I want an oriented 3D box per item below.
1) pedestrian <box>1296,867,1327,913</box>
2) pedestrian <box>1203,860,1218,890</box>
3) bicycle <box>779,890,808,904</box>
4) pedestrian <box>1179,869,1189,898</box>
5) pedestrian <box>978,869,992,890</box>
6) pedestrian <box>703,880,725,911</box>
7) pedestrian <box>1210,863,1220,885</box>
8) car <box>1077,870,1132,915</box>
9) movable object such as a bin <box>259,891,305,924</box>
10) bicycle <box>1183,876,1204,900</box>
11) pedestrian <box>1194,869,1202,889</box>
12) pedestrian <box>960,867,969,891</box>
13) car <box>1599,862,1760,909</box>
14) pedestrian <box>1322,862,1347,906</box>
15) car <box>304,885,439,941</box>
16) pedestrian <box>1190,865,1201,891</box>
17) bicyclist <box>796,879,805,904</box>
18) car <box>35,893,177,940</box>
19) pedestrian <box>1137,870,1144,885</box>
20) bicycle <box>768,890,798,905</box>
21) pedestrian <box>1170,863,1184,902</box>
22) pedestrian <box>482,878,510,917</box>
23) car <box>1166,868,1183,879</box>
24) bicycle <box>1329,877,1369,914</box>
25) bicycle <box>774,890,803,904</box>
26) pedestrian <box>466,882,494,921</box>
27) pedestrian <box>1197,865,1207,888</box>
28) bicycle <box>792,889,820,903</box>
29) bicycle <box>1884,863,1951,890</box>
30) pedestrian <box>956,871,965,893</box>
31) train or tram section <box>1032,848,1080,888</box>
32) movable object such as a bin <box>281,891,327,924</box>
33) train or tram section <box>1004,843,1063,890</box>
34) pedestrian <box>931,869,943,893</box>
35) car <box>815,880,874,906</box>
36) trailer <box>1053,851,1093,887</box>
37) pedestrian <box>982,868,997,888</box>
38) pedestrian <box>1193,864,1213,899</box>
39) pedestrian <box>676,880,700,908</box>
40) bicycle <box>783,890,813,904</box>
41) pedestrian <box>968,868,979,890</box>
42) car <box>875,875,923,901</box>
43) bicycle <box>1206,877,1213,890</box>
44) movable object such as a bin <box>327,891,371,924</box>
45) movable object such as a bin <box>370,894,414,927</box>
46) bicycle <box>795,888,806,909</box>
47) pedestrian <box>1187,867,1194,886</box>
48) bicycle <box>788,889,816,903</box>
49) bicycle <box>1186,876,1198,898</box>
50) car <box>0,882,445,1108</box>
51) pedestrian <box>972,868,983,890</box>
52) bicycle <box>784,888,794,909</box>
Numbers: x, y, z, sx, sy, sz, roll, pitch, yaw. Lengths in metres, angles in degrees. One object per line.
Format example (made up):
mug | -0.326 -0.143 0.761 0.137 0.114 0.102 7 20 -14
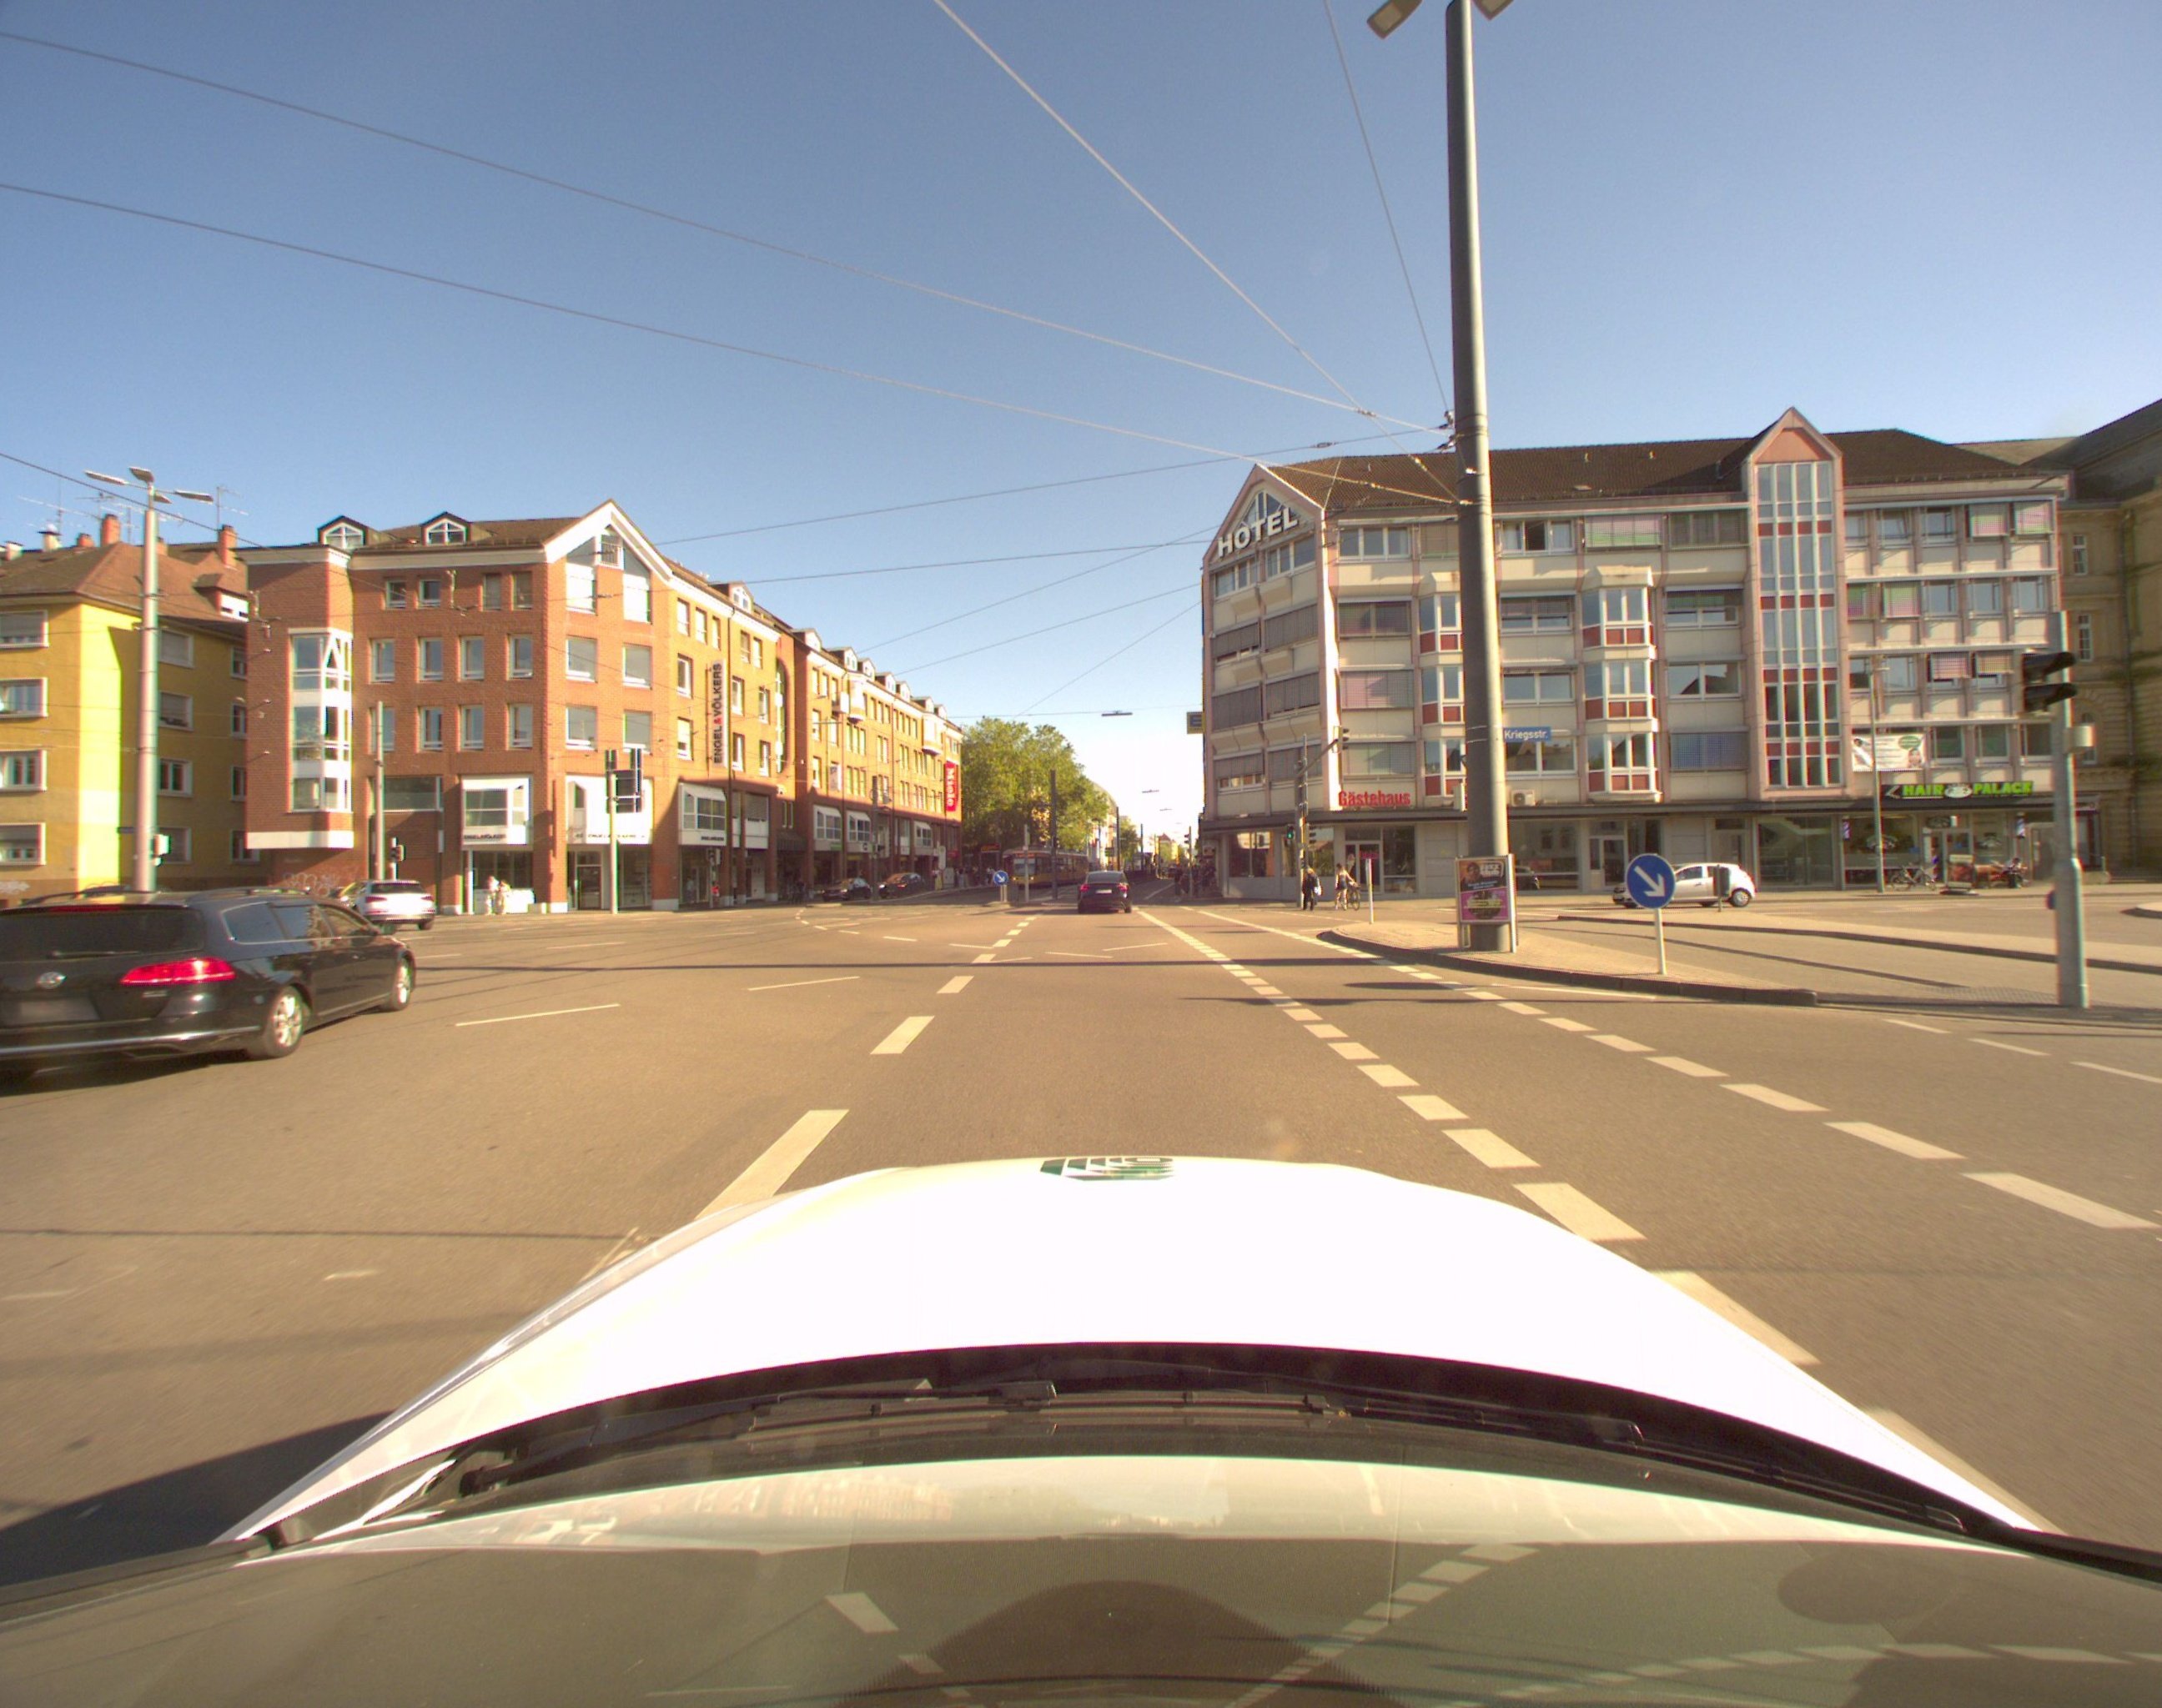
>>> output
pedestrian | 8.142 1.266 28.801 0.778 1.576 0.866 0 0 -4
pedestrian | 7.306 1.180 46.069 0.685 1.688 0.670 0 -2 -6
bicycle | -18.689 2.783 52.894 1.701 0.900 0.522 -1 -2 6
pedestrian | 5.500 1.561 43.300 0.468 1.563 0.546 -1 -2 11
pedestrian | -7.579 1.985 64.145 0.996 1.625 0.848 -1 -2 0
pedestrian | -19.671 2.222 43.657 0.708 1.594 0.778 2 -1 8
pedestrian | 10.260 1.517 62.405 0.743 1.678 0.700 -1 -2 9
car | 0.848 1.346 28.529 1.783 1.451 3.941 -1 -3 2
movable object such as a bin | -36.467 2.426 37.184 0.992 1.437 1.096 -1 -2 1
bicycle | 5.623 1.667 40.689 0.488 1.161 1.967 0 -2 -9
pedestrian | 10.076 2.171 69.988 0.692 1.678 0.751 -1 -2 9
pedestrian | -8.530 1.819 59.810 0.635 1.721 0.584 0 -2 -7
car | 19.529 1.042 26.725 3.822 1.432 1.806 -1 -3 5
pedestrian | 9.230 1.080 29.674 0.525 1.555 0.865 0 -2 -8
car | -22.256 1.803 25.574 3.443 1.635 1.855 -1 -2 23
pedestrian | 7.373 1.536 52.514 0.692 1.678 0.751 -1 -2 9
bicyclist | -16.653 2.234 48.322 0.484 1.471 0.713 0 -2 -23
car | -35.482 2.244 29.660 3.748 1.618 1.582 -1 -2 9
pedestrian | 7.112 2.802 96.992 0.753 1.770 0.700 -1 -2 7
bicycle | -18.888 2.751 51.634 1.701 0.900 0.522 -1 -2 6
pedestrian | 4.460 1.308 37.847 0.623 1.782 0.918 -1 -2 4
pedestrian | -26.374 1.947 36.725 0.685 1.727 0.712 -1 -2 2
car | 13.962 2.955 122.039 1.722 1.665 3.726 -1 -2 19
bicycle | 9.669 1.479 29.441 0.543 1.285 1.902 0 -2 -8
bicycle | -18.769 2.767 52.278 1.701 0.900 0.522 -1 -2 6
pedestrian | -27.122 2.121 36.742 0.685 1.727 0.712 -1 -2 2
pedestrian | 8.910 1.639 59.769 0.692 1.678 0.751 -1 -2 9
bicycle | -18.442 2.838 54.652 1.701 0.900 0.522 -1 -2 6
bicycle | 32.712 0.873 31.861 1.959 1.049 0.536 -1 -2 2
pedestrian | -8.129 1.891 55.062 0.583 1.531 0.636 0 -2 -7
train or tram section | -2.206 1.380 77.038 2.698 3.547 10.191 -1 -2 8
movable object such as a bin | -35.482 2.423 37.213 0.992 1.437 1.096 -1 -2 1
train or tram section | -3.737 1.117 67.018 2.713 3.543 10.110 -1 -2 9
pedestrian | -9.406 1.766 53.197 0.631 1.564 0.587 -1 -2 9
car | -14.756 2.384 50.945 1.805 1.454 3.990 -3 -2 12
trailer | -0.742 1.629 86.714 2.698 3.547 9.379 -1 -2 8
pedestrian | -7.340 1.924 65.095 1.101 1.625 0.848 -1 -2 0
pedestrian | 6.148 1.372 40.954 0.908 1.755 0.842 -1 -2 13
pedestrian | -22.138 2.245 45.884 0.876 1.568 0.869 -2 -2 29
bicycle | -18.595 2.810 53.495 1.750 0.900 0.587 -1 -2 6
pedestrian | -8.188 1.904 62.168 0.630 1.721 0.588 -1 -2 17
car | -11.774 2.184 52.945 1.808 1.544 3.798 -3 -2 6
bicycle | 8.415 1.949 53.482 0.412 0.857 1.240 -1 -2 10
movable object such as a bin | -33.213 2.436 36.965 0.992 1.437 1.096 -1 -2 1
movable object such as a bin | -31.019 2.521 36.663 0.992 1.437 1.096 -1 -2 1
bicycle | -16.696 2.633 48.409 0.492 1.158 1.669 0 -2 -23
pedestrian | 11.028 2.298 81.821 0.692 1.897 0.751 -1 -2 9
bicycle | -18.525 2.815 54.071 1.701 0.900 0.522 -1 -2 6
bicycle | 5.837 1.736 42.855 0.485 1.102 2.131 -1 -2 11
car | -7.882 1.030 7.685 1.772 1.444 4.495 0 -1 -22
pedestrian | -7.990 1.911 62.767 0.630 1.721 0.611 -1 -2 17
bicycle | -17.278 2.627 48.176 0.492 1.158 1.703 0 -2 -23
